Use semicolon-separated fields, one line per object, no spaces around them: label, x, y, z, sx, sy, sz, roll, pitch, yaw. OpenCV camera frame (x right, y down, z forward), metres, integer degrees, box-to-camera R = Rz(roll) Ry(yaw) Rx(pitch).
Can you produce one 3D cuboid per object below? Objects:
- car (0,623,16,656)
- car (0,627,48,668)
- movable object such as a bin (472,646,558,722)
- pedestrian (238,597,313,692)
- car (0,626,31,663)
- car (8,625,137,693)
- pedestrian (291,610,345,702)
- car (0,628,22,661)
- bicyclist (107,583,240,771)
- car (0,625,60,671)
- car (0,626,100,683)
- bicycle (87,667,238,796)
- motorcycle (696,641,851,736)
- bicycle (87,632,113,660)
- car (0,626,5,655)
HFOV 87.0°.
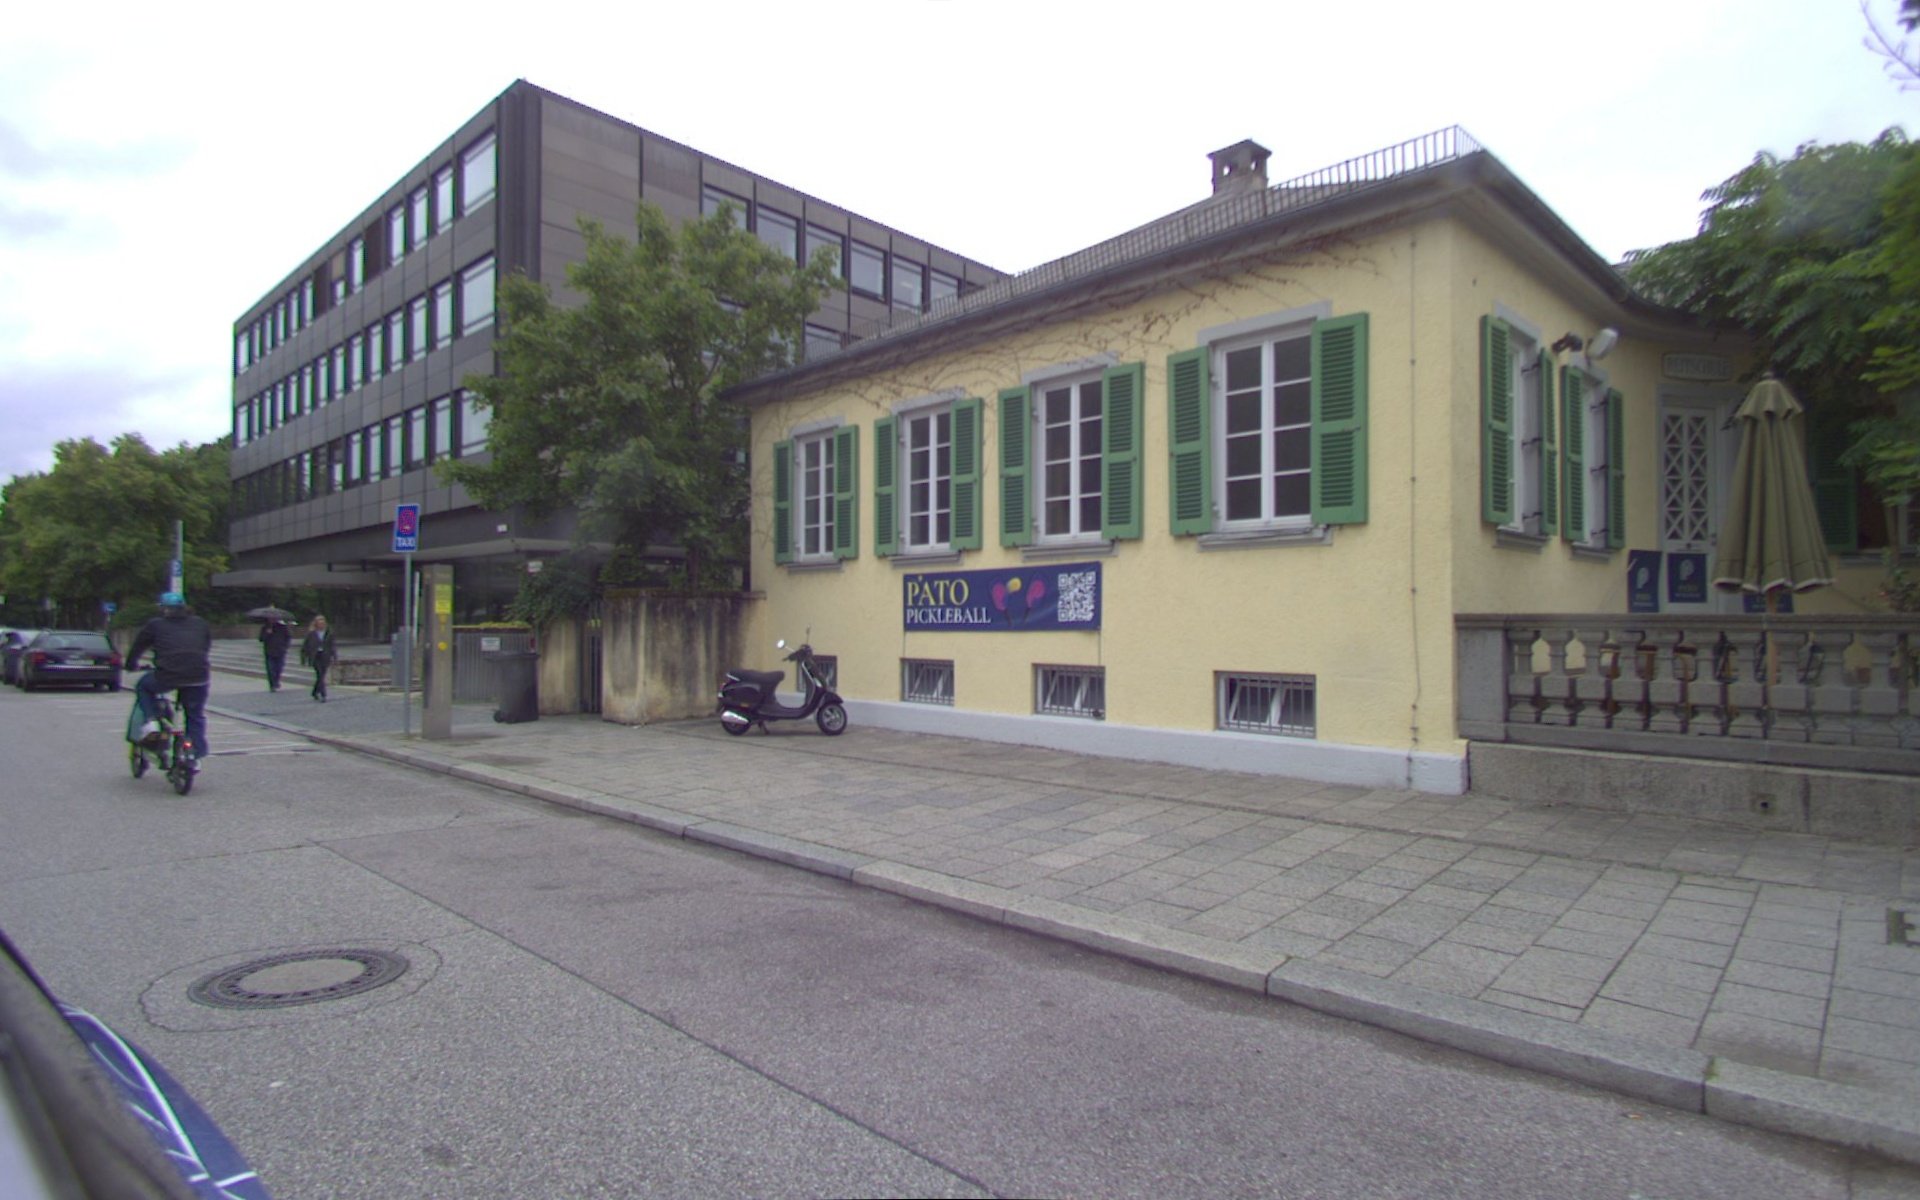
car;-47.475;1.909;49.180;4.522;1.595;1.972;-2;-2;43
car;-35.409;1.742;37.768;4.280;1.451;1.663;-1;-4;44
movable object such as a bin;-6.759;1.255;15.381;0.840;1.072;0.925;-2;-2;41
pedestrian;-15.484;0.991;22.903;1.221;2.070;1.123;-1;-2;42
car;-39.453;1.817;41.598;3.553;1.482;1.526;-2;-3;43
car;-21.939;1.386;24.946;4.885;1.502;1.971;-1;-3;44
pedestrian;-12.982;1.111;20.470;0.743;1.762;0.954;-2;0;-41
car;-43.170;1.951;45.082;4.219;1.411;1.738;-2;-5;45
bicyclist;-7.138;0.665;9.185;0.976;1.588;0.736;-2;-2;38
car;-31.819;1.611;34.234;4.238;1.472;1.720;-1;-4;45
car;-25.872;1.488;28.443;4.916;1.450;1.902;-1;-3;42
bicycle;-7.407;1.156;9.358;2.138;1.012;0.615;-1;-3;39
motorcycle;-2.326;1.103;12.706;1.816;1.109;0.557;-1;0;7
bicycle;-38.394;2.055;45.176;1.527;1.173;0.636;-2;1;42
car;-52.102;2.128;53.641;4.648;1.472;1.971;-2;-2;44
